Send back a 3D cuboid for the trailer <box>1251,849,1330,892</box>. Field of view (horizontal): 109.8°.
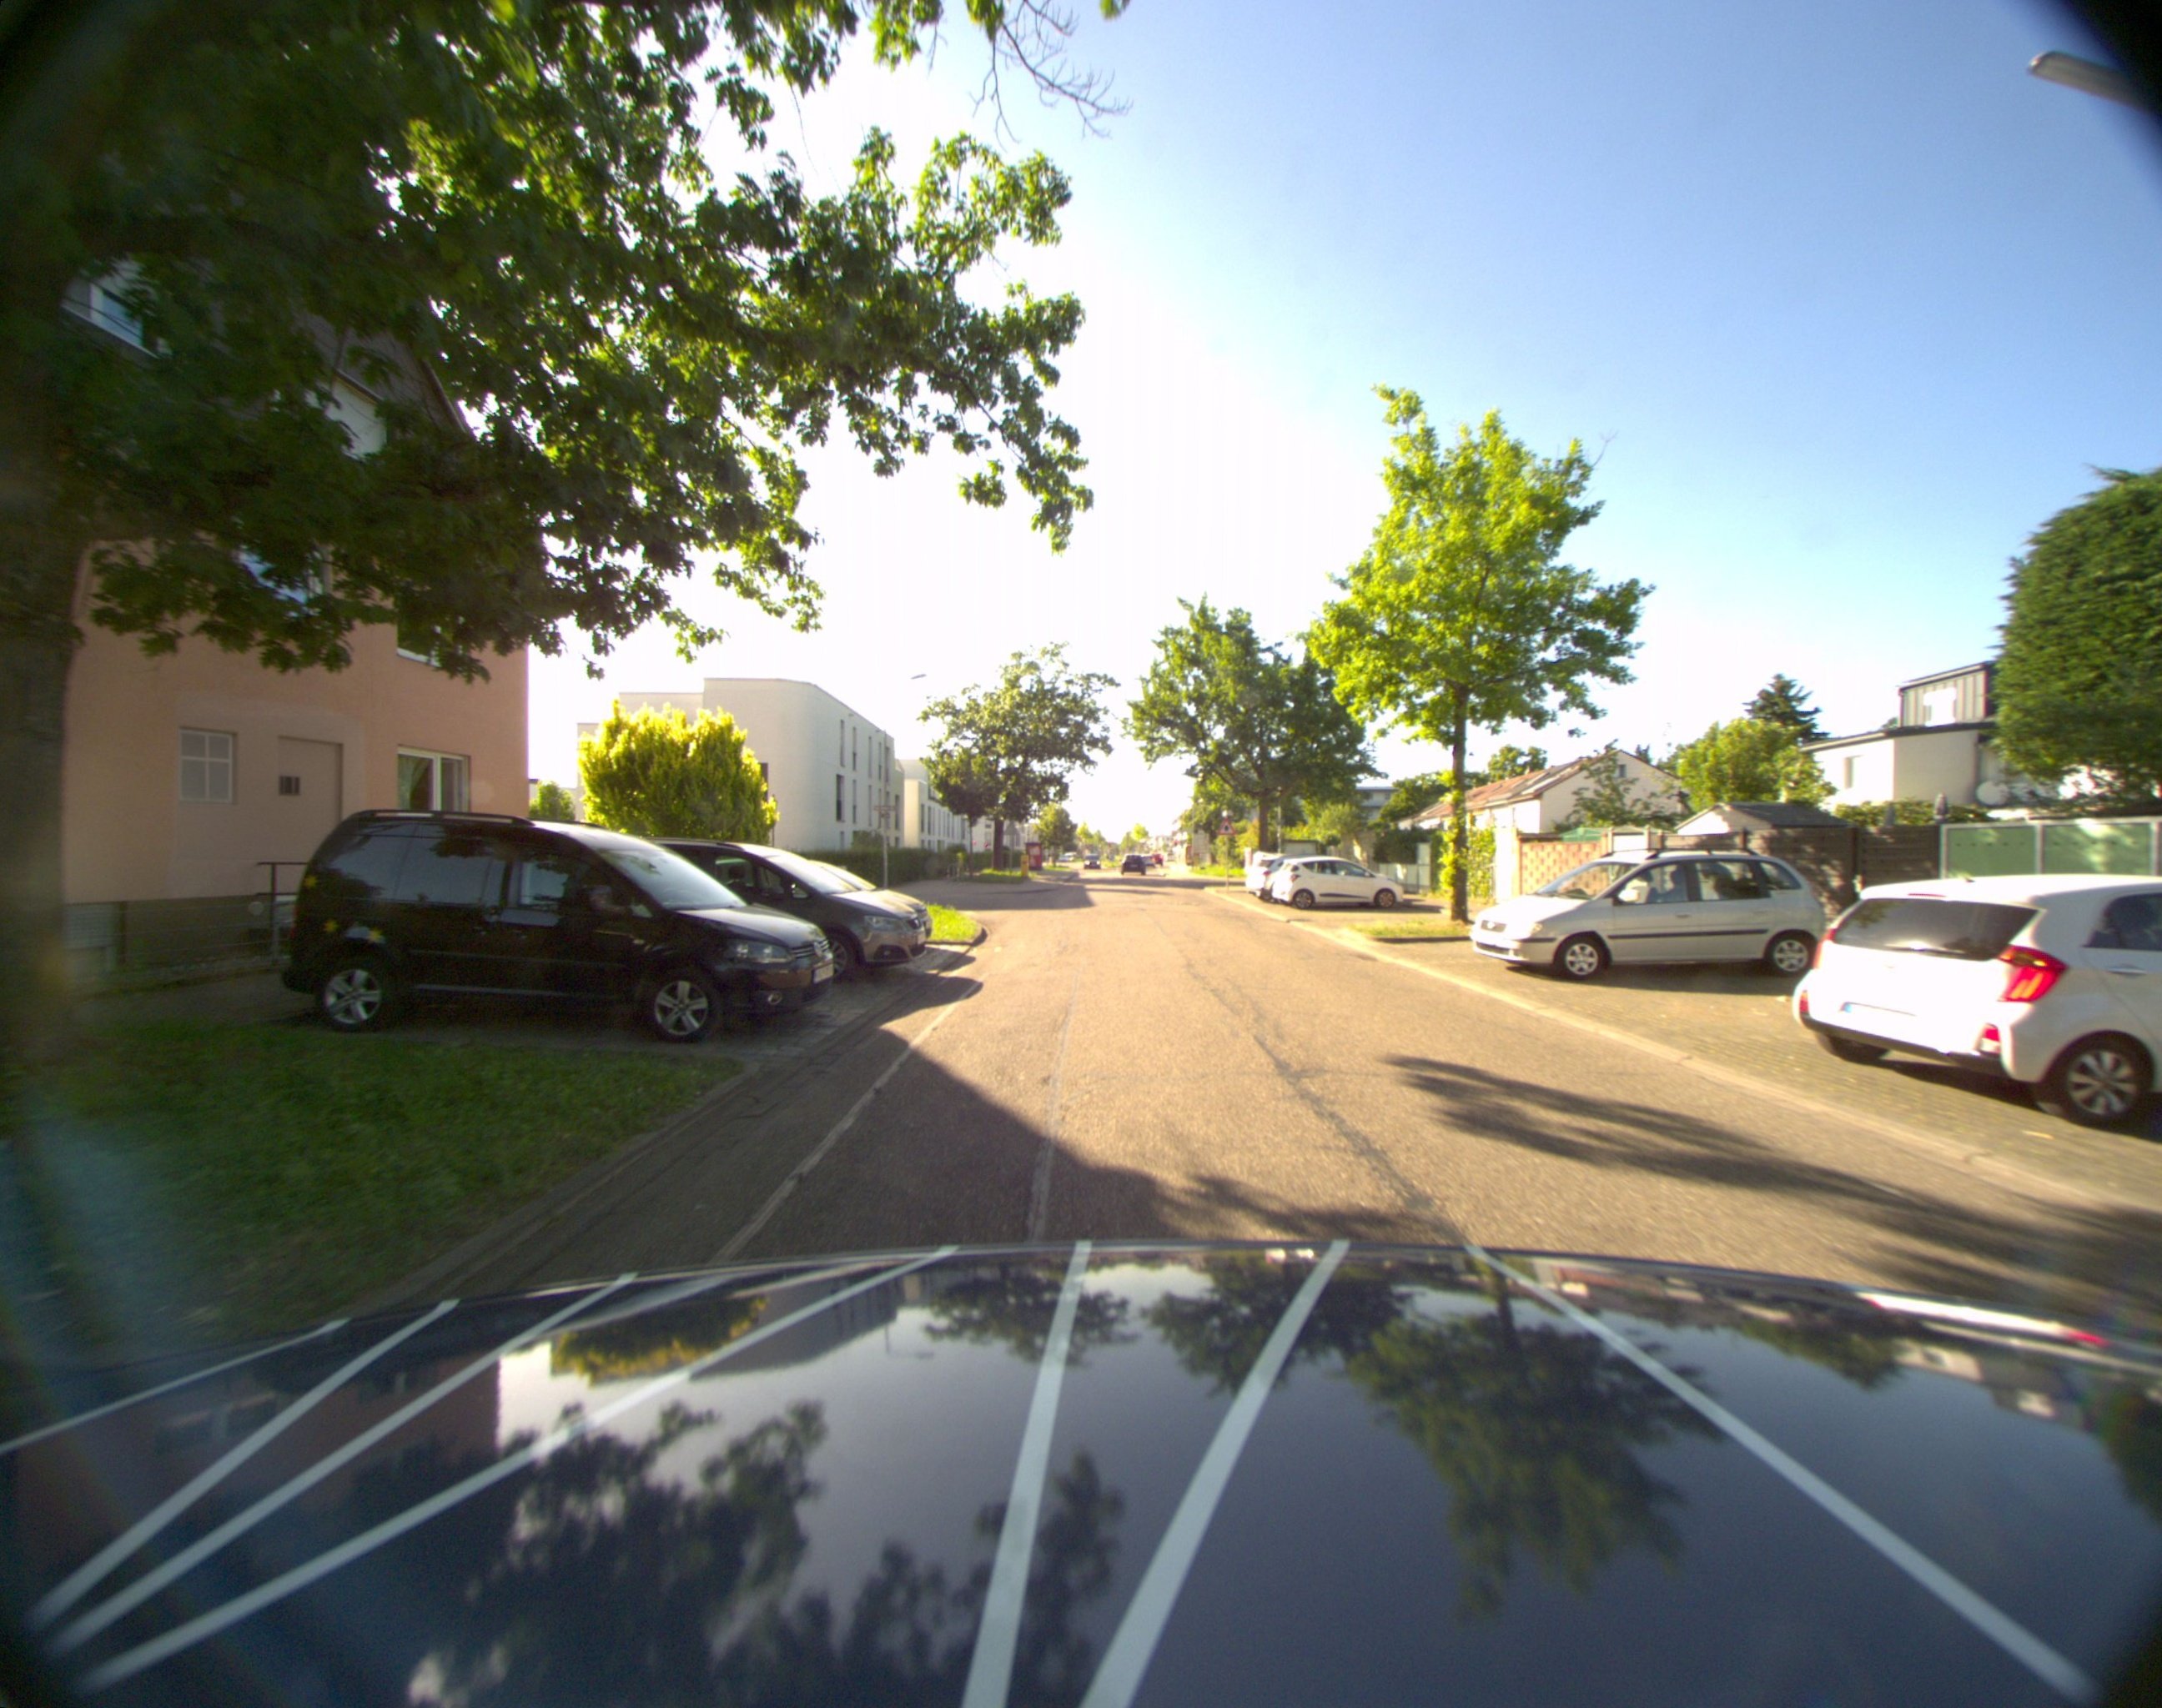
[{"bbox_3d":[8.333,0.644,30.337,2.766,1.638,1.298,0,3,-4],"label":"trailer"}]

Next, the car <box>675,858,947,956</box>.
[{"bbox_3d":[-4.436,0.849,12.911,3.955,1.353,1.683,3,1,0],"label":"car"}]

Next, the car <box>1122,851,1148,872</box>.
[{"bbox_3d":[3.938,0.546,56.287,1.742,1.531,3.947,0,0,1],"label":"car"}]

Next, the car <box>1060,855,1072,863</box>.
[{"bbox_3d":[-2.843,0.858,145.631,1.944,1.412,4.000,0,1,3],"label":"car"}]

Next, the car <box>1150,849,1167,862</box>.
[{"bbox_3d":[9.082,0.168,89.673,1.765,1.469,3.851,-1,0,3],"label":"car"}]

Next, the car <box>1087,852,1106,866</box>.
[{"bbox_3d":[1.657,0.545,81.594,1.877,1.469,3.851,1,0,3],"label":"car"}]

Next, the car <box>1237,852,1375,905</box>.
[{"bbox_3d":[7.382,0.768,25.178,3.965,1.565,1.921,-1,2,-6],"label":"car"}]

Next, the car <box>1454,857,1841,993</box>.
[{"bbox_3d":[7.504,0.896,10.374,3.948,1.604,1.706,-1,0,2],"label":"car"}]

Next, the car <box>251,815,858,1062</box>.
[{"bbox_3d":[-4.451,0.669,6.925,4.222,1.771,1.789,3,1,0],"label":"car"}]

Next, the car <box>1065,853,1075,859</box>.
[{"bbox_3d":[-2.248,0.398,154.098,1.830,1.324,3.678,1,0,4],"label":"car"}]

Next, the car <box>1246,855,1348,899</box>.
[{"bbox_3d":[7.830,0.820,27.783,3.303,1.470,1.615,-1,2,2],"label":"car"}]

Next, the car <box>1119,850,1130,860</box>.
[{"bbox_3d":[7.269,0.131,126.894,1.877,1.470,3.850,0,1,2],"label":"car"}]

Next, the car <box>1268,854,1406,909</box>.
[{"bbox_3d":[7.551,0.781,22.640,3.523,1.487,1.707,-1,2,-1],"label":"car"}]

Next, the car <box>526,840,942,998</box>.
[{"bbox_3d":[-4.279,0.763,9.930,4.514,1.670,1.879,3,1,0],"label":"car"}]

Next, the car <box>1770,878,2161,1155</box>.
[{"bbox_3d":[7.537,0.957,5.167,4.011,1.506,1.795,0,1,2],"label":"car"}]

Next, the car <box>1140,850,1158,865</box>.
[{"bbox_3d":[7.318,0.421,82.251,1.765,1.389,3.853,-3,-3,3],"label":"car"}]
